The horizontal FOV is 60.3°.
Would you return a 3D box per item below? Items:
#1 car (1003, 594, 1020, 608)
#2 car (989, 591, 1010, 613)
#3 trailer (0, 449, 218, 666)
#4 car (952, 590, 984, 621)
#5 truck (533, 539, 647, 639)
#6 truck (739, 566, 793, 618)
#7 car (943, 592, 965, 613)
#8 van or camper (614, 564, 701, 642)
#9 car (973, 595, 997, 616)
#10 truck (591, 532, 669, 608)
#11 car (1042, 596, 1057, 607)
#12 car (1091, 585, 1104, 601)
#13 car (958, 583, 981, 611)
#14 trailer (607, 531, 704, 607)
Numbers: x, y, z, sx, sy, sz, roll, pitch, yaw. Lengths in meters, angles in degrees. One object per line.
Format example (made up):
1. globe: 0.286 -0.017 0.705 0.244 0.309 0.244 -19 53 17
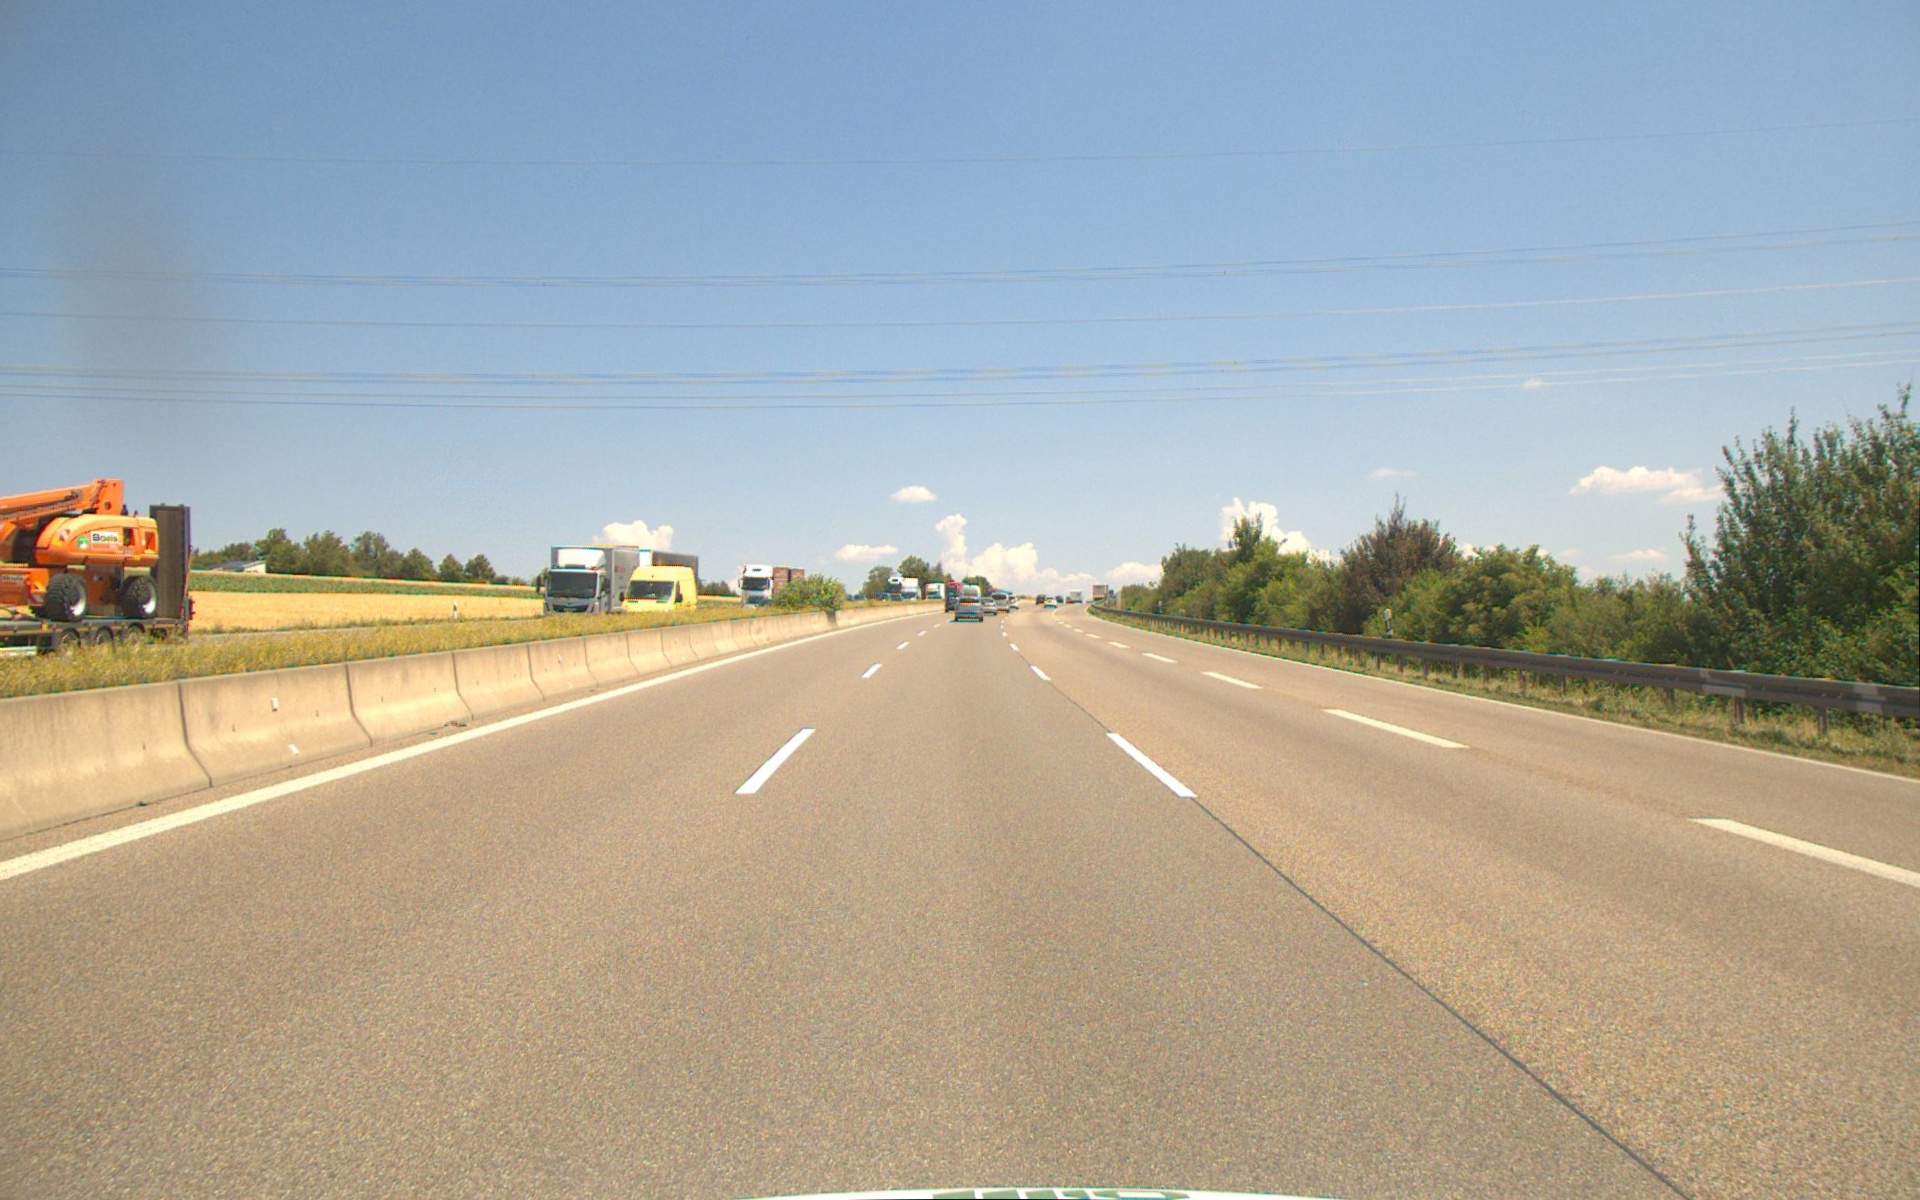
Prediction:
1. car: 6.078 0.135 195.823 1.952 1.579 4.001 2 1 2
2. car: 3.852 0.214 159.634 1.952 1.937 4.000 0 -2 2
3. trailer: -19.185 -0.804 32.763 2.781 4.027 13.726 1 0 0
4. car: 0.497 0.373 104.315 1.953 1.781 3.998 1 -3 -1
5. truck: -14.975 -0.448 67.576 2.876 3.809 7.779 1 0 0
6. truck: -16.602 -0.654 142.181 2.827 4.244 10.626 1 0 2
7. car: -0.566 0.232 155.913 1.808 1.893 4.208 1 1 4
8. van or camper: -11.257 0.092 62.027 2.041 2.755 6.139 1 0 0
9. car: 2.086 0.460 137.519 1.952 1.613 4.000 0 -1 2
10. truck: -18.472 -1.637 92.968 2.793 4.098 6.516 1 0 2
11. car: 12.115 0.197 223.573 1.862 1.467 4.003 1 0 5
12. car: 19.824 -0.991 238.400 1.951 2.341 6.267 0 0 5
13. car: 0.974 -0.264 173.818 2.134 2.671 4.673 1 -3 3
14. trailer: -18.173 -1.732 99.735 2.735 4.177 14.010 1 0 2
